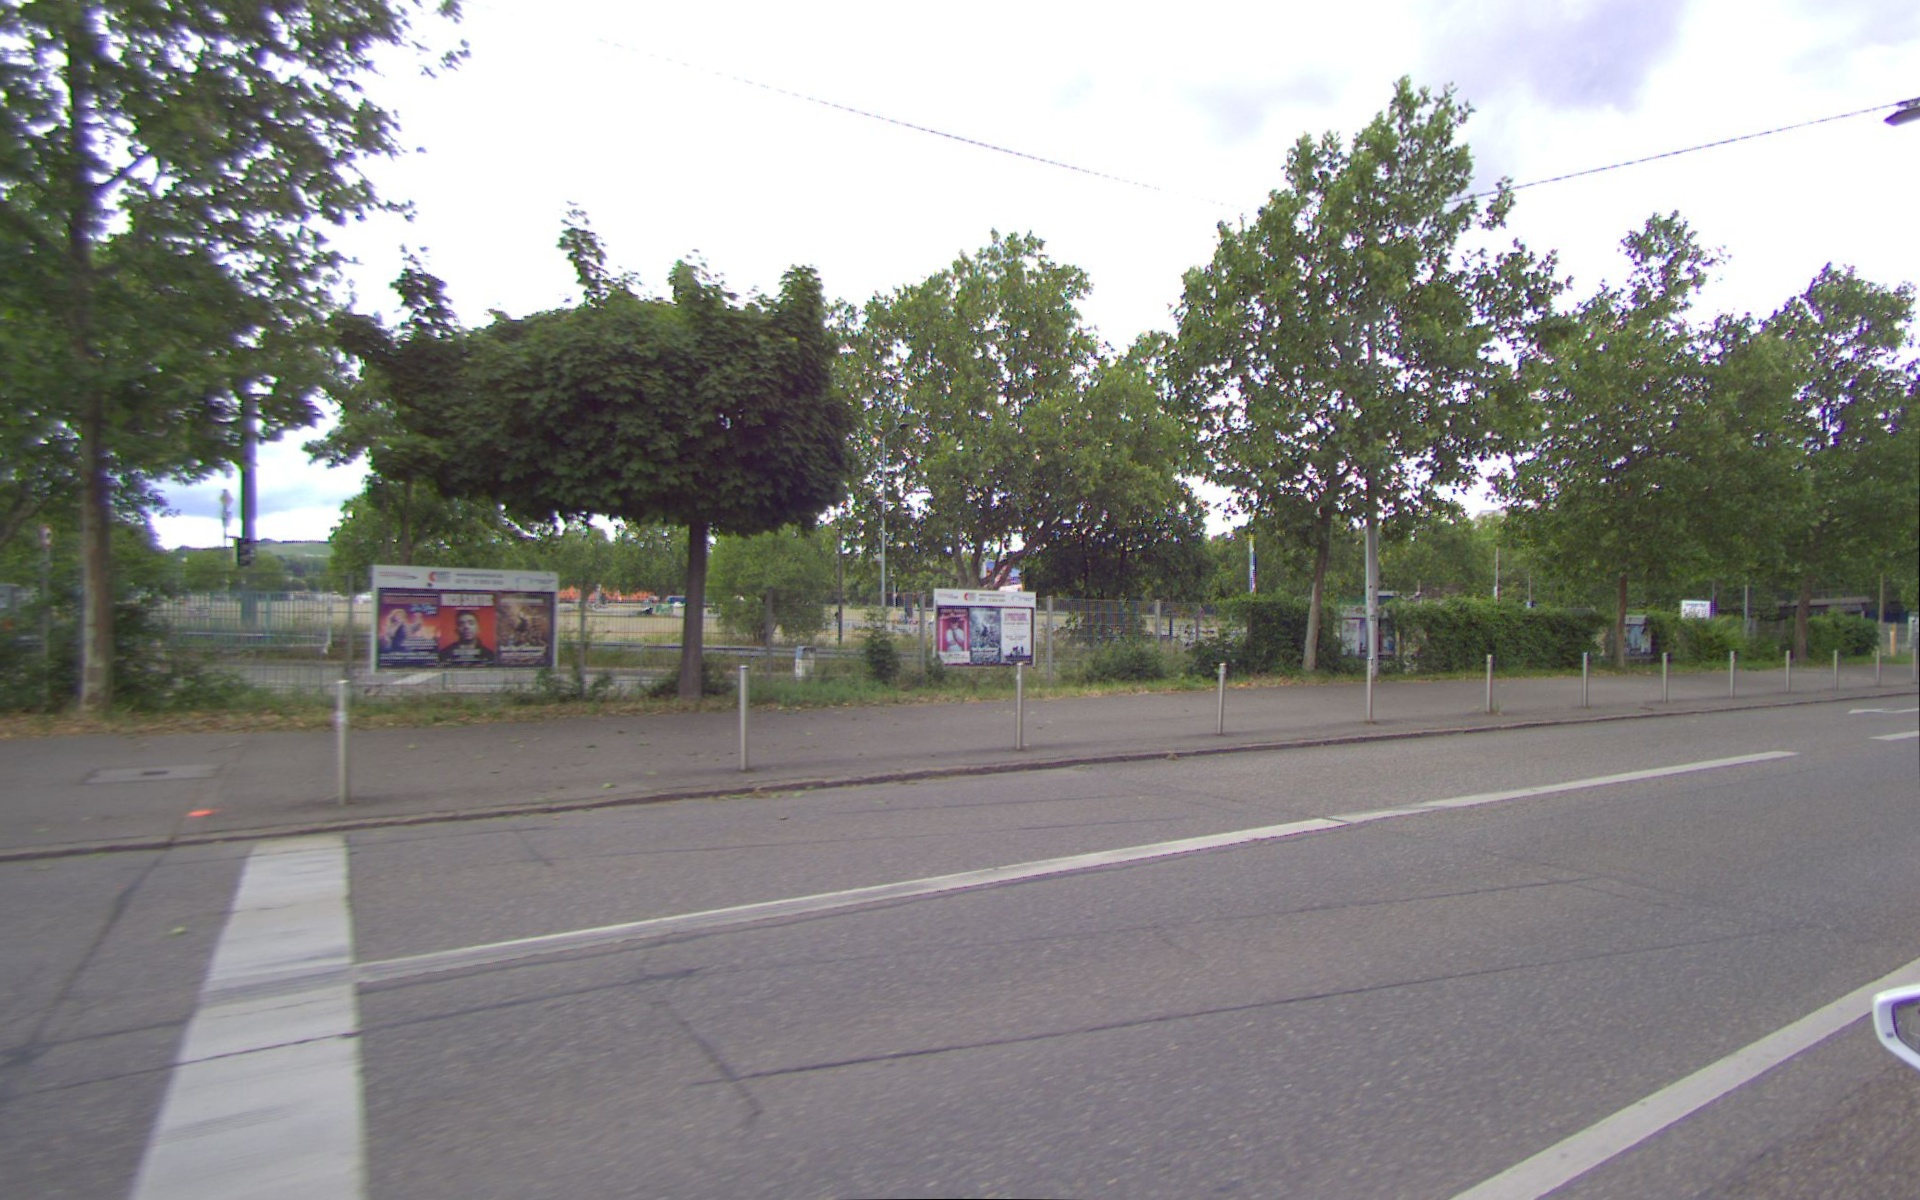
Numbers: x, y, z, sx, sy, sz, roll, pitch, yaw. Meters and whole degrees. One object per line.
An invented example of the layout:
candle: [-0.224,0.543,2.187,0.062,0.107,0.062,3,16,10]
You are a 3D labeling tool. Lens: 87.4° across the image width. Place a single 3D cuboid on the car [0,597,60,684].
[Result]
car: [-23.643,0.856,22.692,4.520,1.860,1.879,2,1,-18]
